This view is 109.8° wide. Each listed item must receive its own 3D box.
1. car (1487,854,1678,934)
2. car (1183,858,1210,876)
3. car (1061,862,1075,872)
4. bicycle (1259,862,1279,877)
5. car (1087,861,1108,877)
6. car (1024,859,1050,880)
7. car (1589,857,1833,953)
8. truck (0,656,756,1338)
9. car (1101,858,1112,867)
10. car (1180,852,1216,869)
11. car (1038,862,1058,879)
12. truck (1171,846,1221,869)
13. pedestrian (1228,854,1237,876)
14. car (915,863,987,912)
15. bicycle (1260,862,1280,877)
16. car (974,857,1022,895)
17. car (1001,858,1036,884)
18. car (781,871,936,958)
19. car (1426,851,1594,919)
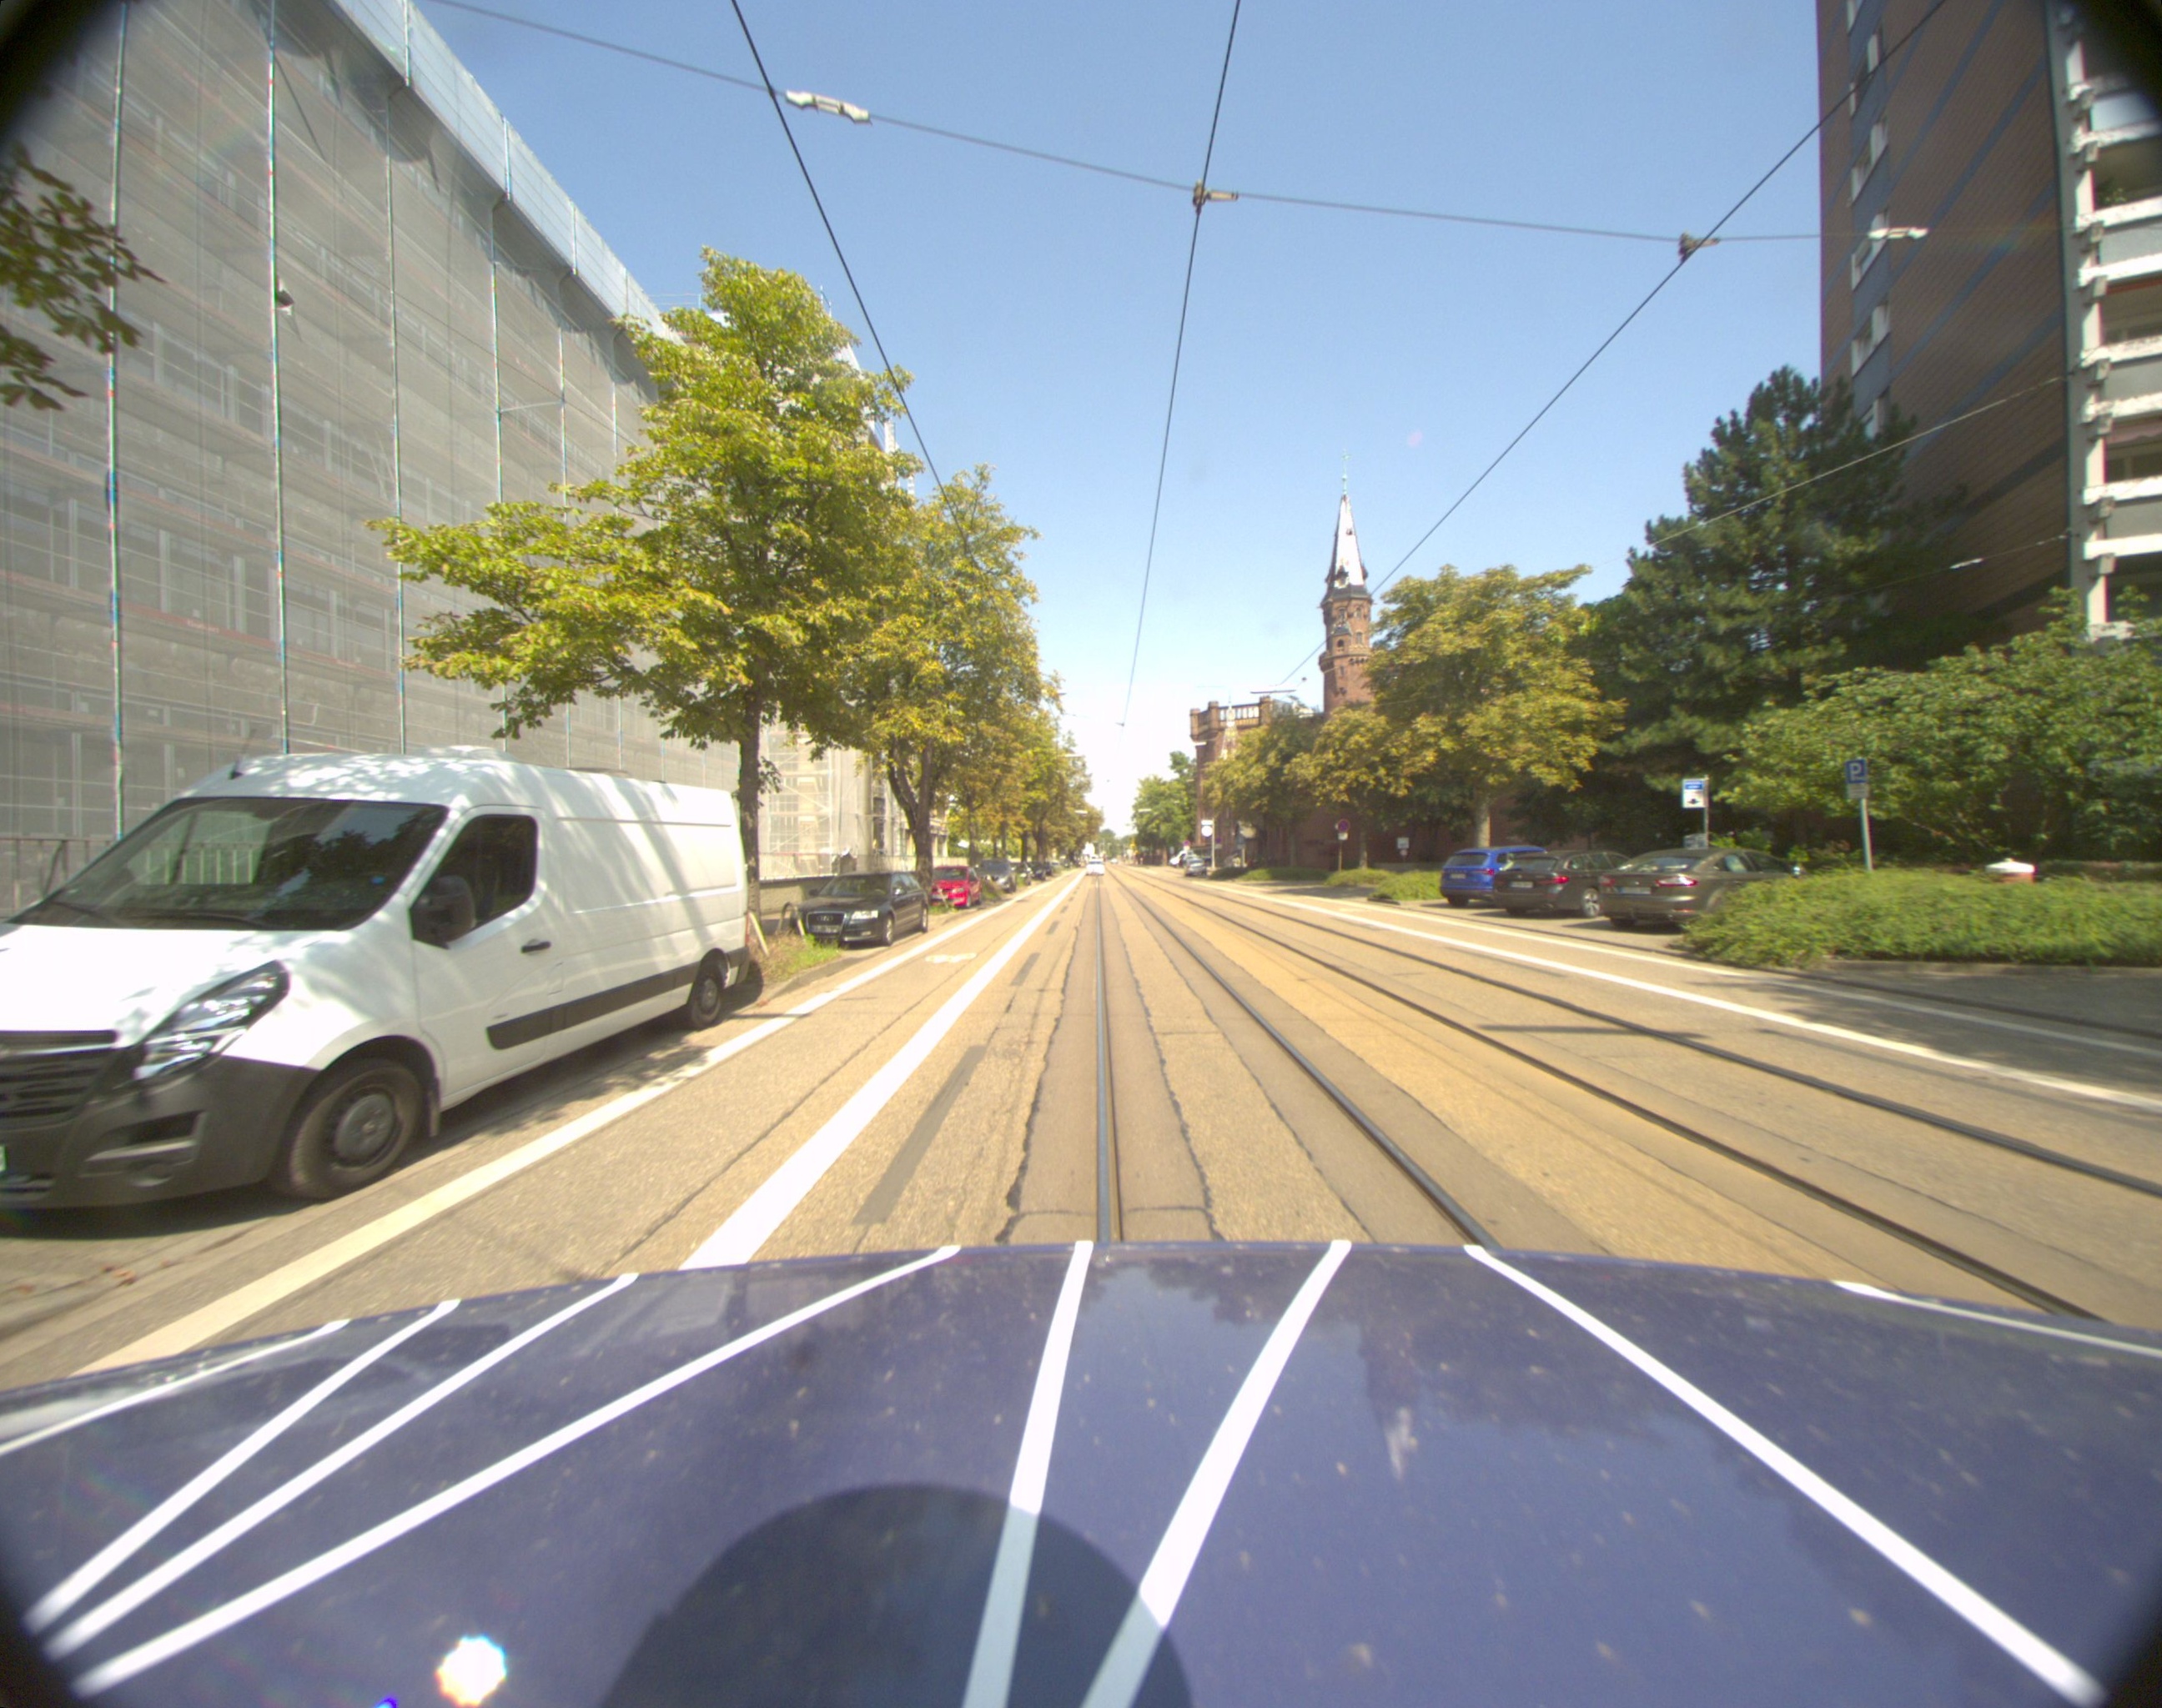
[{"bbox_3d":[11.385,0.840,17.244,4.005,1.560,1.777,-1,0,-25],"label":"car"},{"bbox_3d":[10.162,1.163,67.279,1.939,1.493,4.516,-1,0,4],"label":"car"},{"bbox_3d":[-2.016,1.995,120.726,1.998,1.521,4.001,-1,-1,2],"label":"car"},{"bbox_3d":[15.322,1.245,61.975,1.449,1.056,0.377,-6,1,-8],"label":"bicycle"},{"bbox_3d":[1.489,1.391,70.759,1.824,1.483,4.019,0,0,0],"label":"car"},{"bbox_3d":[-3.435,1.221,59.791,1.645,1.560,4.085,0,-1,2],"label":"car"},{"bbox_3d":[11.712,0.851,14.099,4.301,1.488,1.777,-1,0,-25],"label":"car"},{"bbox_3d":[-4.632,0.571,5.676,1.921,2.583,5.592,-1,0,0],"label":"truck"},{"bbox_3d":[4.314,1.482,128.686,1.677,1.477,3.778,0,0,1],"label":"car"},{"bbox_3d":[15.287,0.801,99.350,4.407,1.787,2.001,-5,-1,4],"label":"car"},{"bbox_3d":[-3.136,1.554,72.019,1.642,1.464,3.994,1,0,1],"label":"car"},{"bbox_3d":[15.907,0.478,105.320,6.510,2.509,2.318,-5,-1,2],"label":"truck"},{"bbox_3d":[13.569,1.007,68.048,0.520,1.969,0.504,-2,1,-45],"label":"pedestrian"},{"bbox_3d":[-4.423,1.109,26.379,1.689,1.491,4.132,-1,0,1],"label":"car"},{"bbox_3d":[15.365,1.241,61.642,1.449,1.056,0.377,-6,1,-8],"label":"bicycle"},{"bbox_3d":[-3.973,1.016,36.892,1.766,1.678,4.649,-1,0,0],"label":"car"},{"bbox_3d":[-3.853,1.032,47.330,1.689,1.561,4.001,-1,0,2],"label":"car"},{"bbox_3d":[-4.415,1.134,15.913,1.689,1.432,4.804,-1,0,2],"label":"car"},{"bbox_3d":[11.621,0.791,20.617,4.004,1.638,1.839,-1,0,-22],"label":"car"}]
